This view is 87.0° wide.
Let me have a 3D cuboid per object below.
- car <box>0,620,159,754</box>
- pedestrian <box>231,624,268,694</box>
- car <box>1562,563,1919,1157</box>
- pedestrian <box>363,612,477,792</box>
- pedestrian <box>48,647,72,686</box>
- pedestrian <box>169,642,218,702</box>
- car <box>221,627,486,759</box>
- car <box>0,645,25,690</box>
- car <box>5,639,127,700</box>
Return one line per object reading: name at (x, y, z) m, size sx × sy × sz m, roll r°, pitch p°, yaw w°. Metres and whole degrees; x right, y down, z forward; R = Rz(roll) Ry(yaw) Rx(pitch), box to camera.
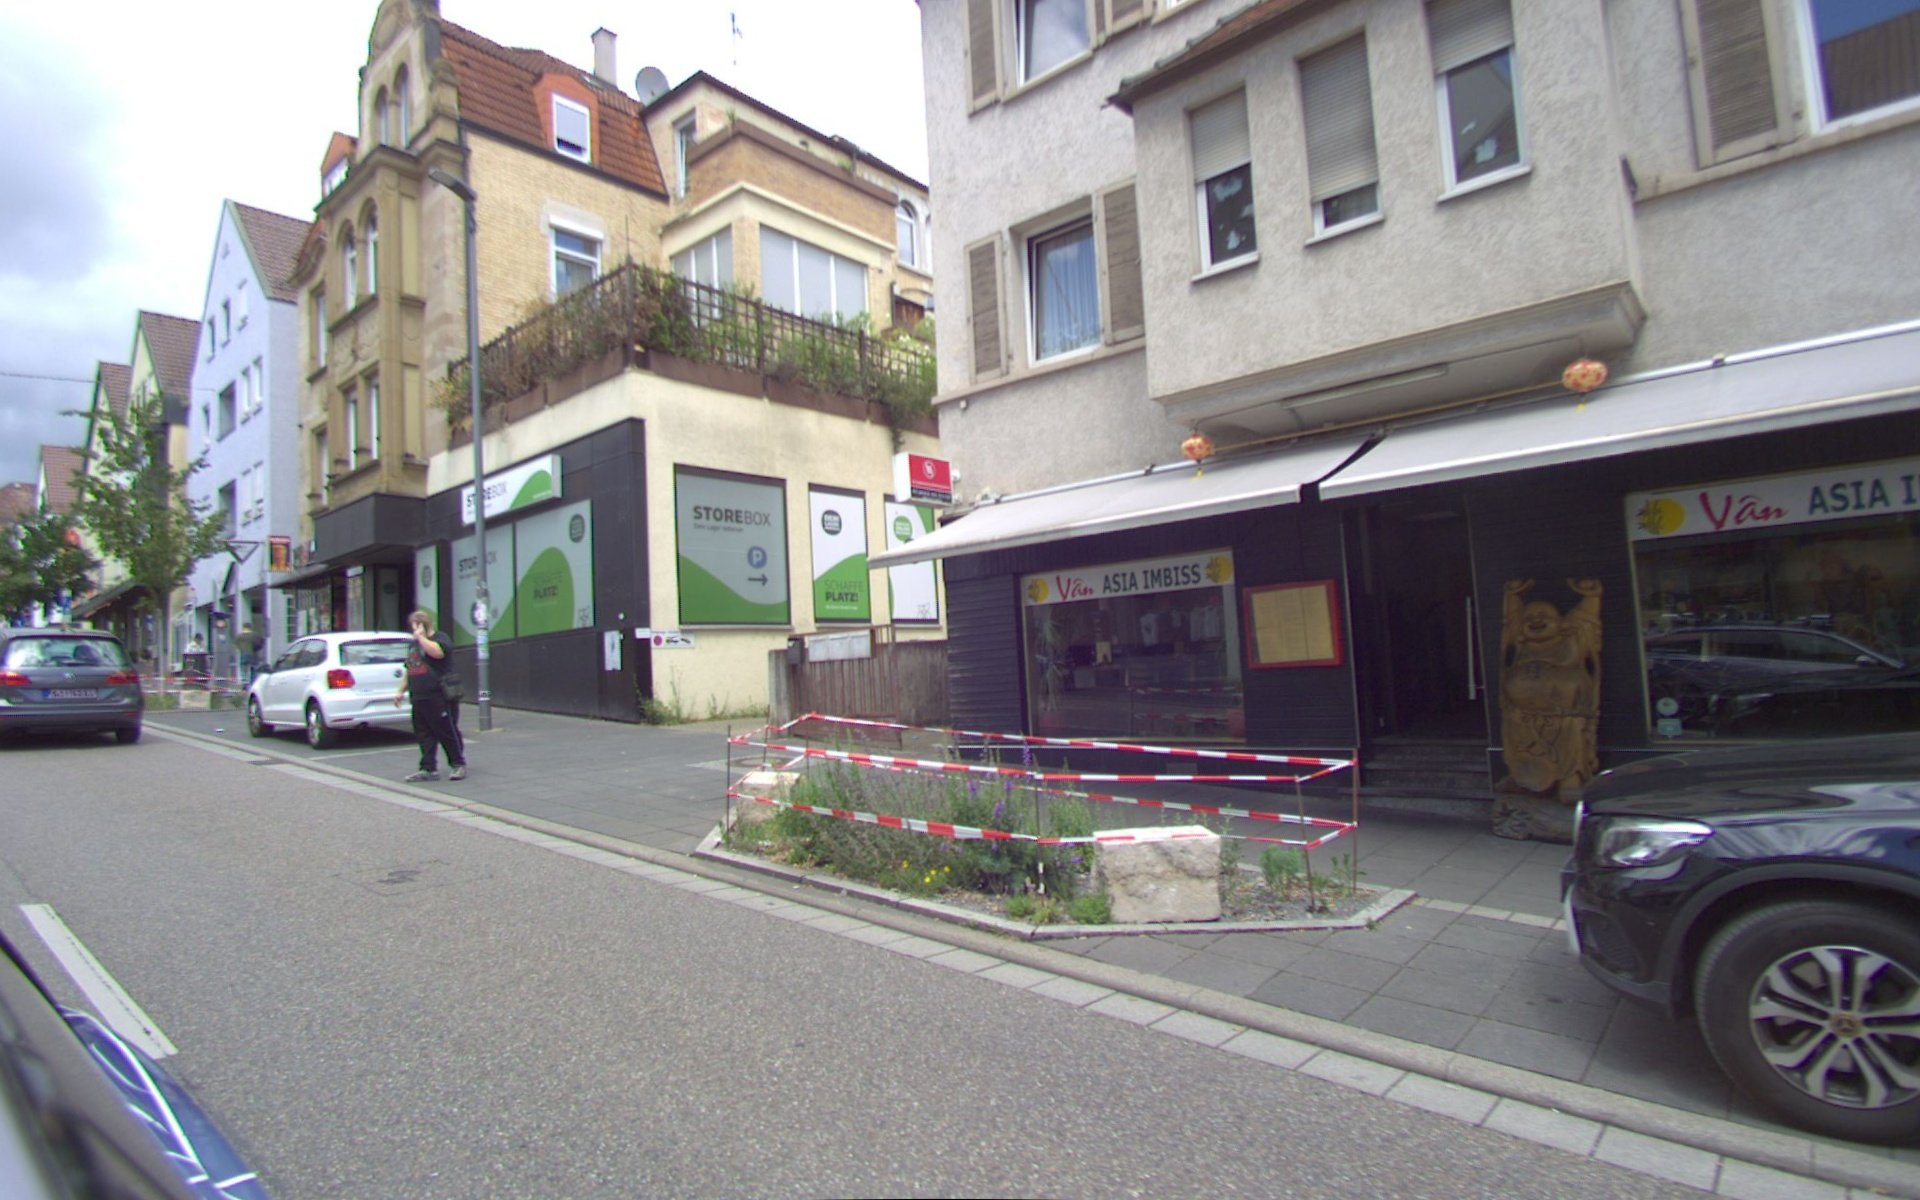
car at (-12.884, 1.145, 14.169) m, size 4.133 × 1.630 × 1.800 m, roll -2°, pitch -4°, yaw 40°
pedestrian at (-17.974, 1.486, 25.604) m, size 0.710 × 1.726 × 0.581 m, roll -3°, pitch -1°, yaw 41°
car at (4.373, 0.672, 2.564) m, size 4.635 × 1.633 × 1.907 m, roll -2°, pitch -1°, yaw 40°
pedestrian at (-5.385, 0.979, 10.098) m, size 0.862 × 1.685 × 0.730 m, roll -3°, pitch -3°, yaw 38°
pedestrian at (-41.322, 3.060, 46.486) m, size 0.835 × 1.752 × 0.630 m, roll -3°, pitch -5°, yaw 39°
pedestrian at (-19.615, 1.832, 25.893) m, size 0.809 × 1.474 × 0.817 m, roll -3°, pitch -1°, yaw 40°
car at (-8.670, 1.232, 14.327) m, size 4.258 × 1.523 × 1.907 m, roll -3°, pitch -1°, yaw 40°
car at (-38.700, 2.740, 40.036) m, size 4.604 × 1.706 × 1.986 m, roll -4°, pitch -2°, yaw 41°
car at (-25.635, 1.967, 28.967) m, size 4.838 × 1.504 × 1.907 m, roll -3°, pitch -1°, yaw 40°
